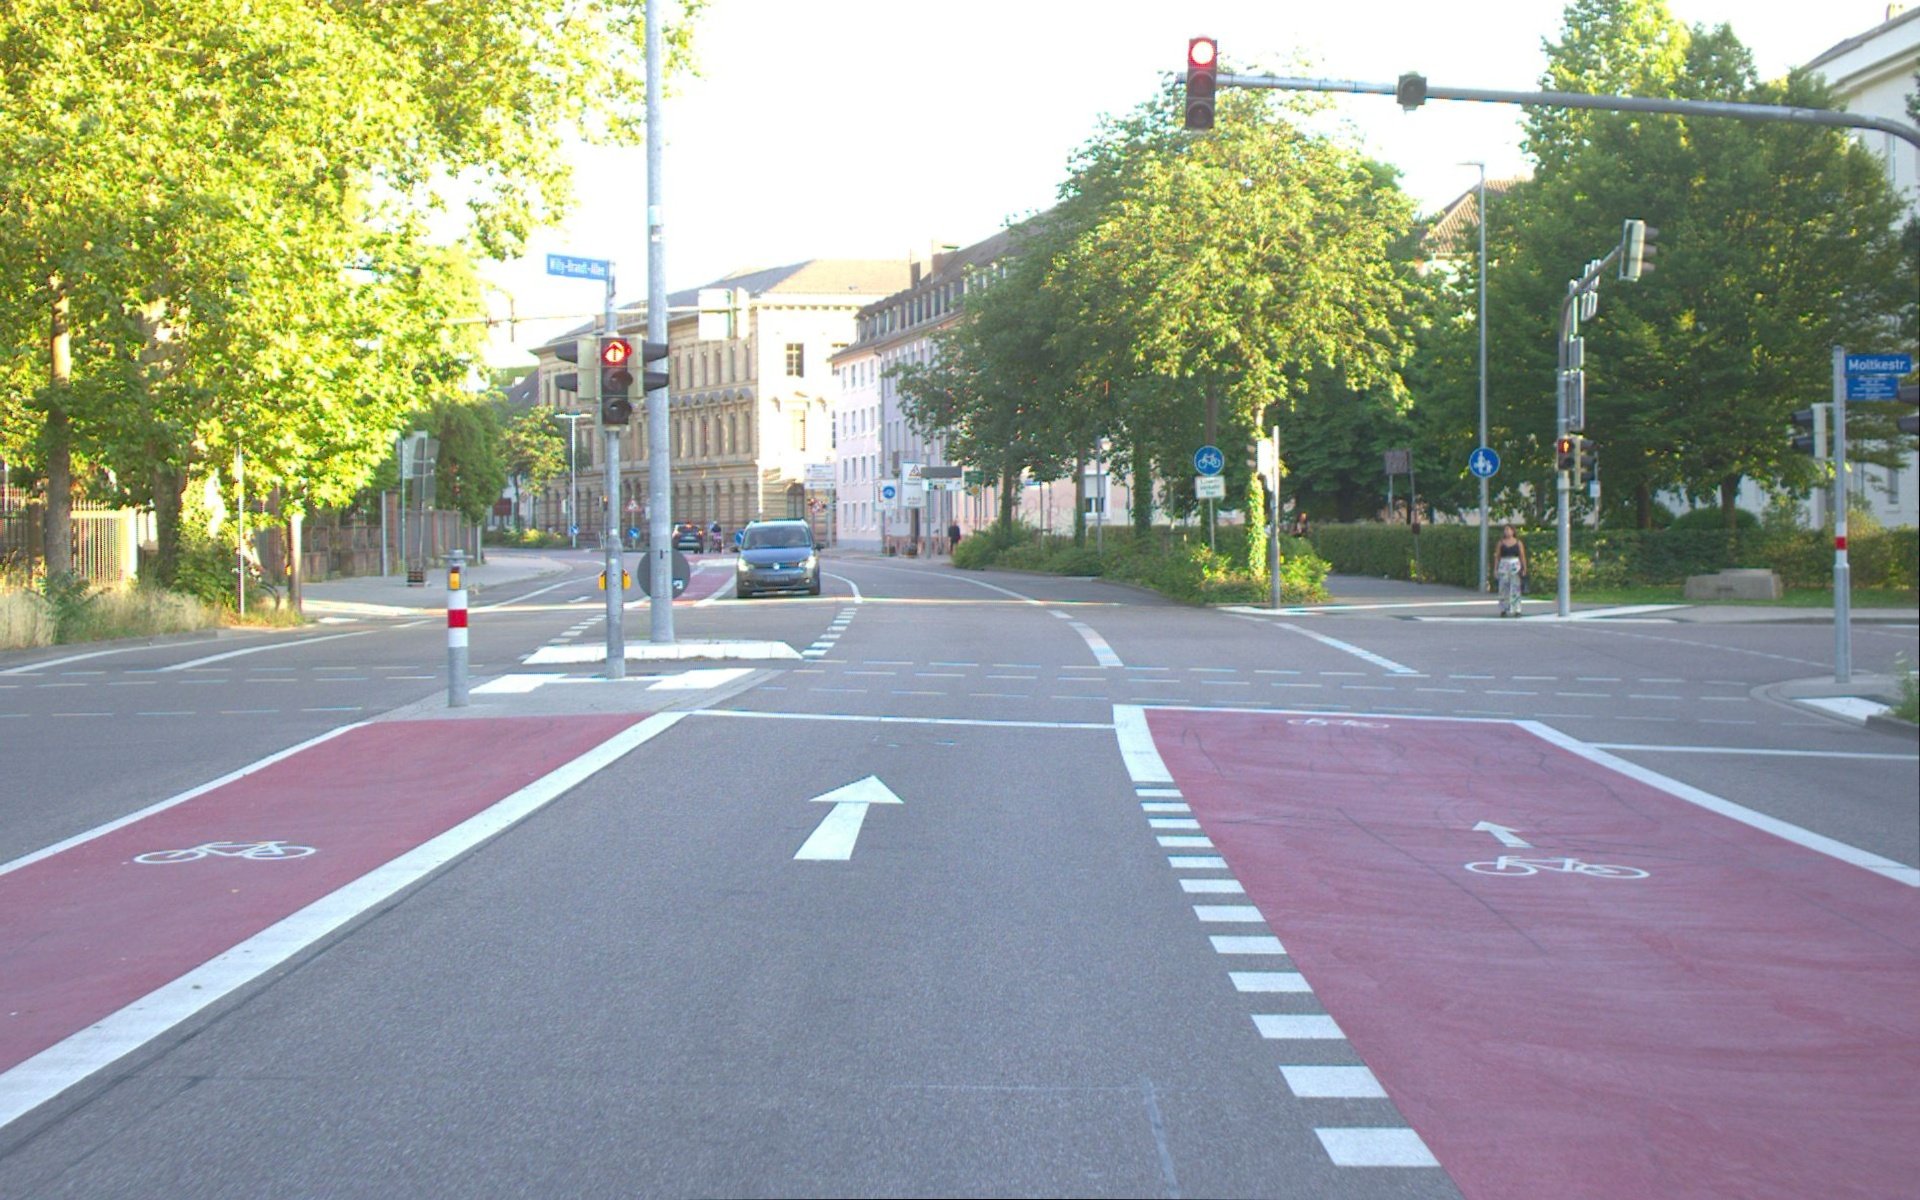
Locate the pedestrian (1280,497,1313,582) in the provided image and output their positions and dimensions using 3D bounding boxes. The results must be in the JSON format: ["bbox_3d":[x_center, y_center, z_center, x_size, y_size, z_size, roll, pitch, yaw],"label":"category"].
[{"bbox_3d":[7.981,-1.437,81.512,0.635,2.007,0.720,1,1,-3],"label":"pedestrian"}]

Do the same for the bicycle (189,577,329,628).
[{"bbox_3d":[-12.988,0.036,63.745,2.430,0.921,0.775,0,1,2],"label":"bicycle"}]

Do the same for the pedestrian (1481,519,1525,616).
[{"bbox_3d":[9.277,-0.559,58.775,0.599,1.630,0.691,1,2,0],"label":"pedestrian"}]

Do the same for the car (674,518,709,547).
[{"bbox_3d":[-14.835,-3.739,189.836,1.819,1.583,4.001,-1,1,-5],"label":"car"}]

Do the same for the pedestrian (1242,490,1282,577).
[{"bbox_3d":[7.079,-1.557,80.619,0.870,2.007,0.722,1,1,1],"label":"pedestrian"}]

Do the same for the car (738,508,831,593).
[{"bbox_3d":[-3.778,-1.088,74.544,1.849,1.714,4.296,-2,1,-1],"label":"car"}]

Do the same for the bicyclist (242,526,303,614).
[{"bbox_3d":[-12.736,-0.560,63.720,0.958,1.625,0.753,0,1,2],"label":"bicyclist"}]
